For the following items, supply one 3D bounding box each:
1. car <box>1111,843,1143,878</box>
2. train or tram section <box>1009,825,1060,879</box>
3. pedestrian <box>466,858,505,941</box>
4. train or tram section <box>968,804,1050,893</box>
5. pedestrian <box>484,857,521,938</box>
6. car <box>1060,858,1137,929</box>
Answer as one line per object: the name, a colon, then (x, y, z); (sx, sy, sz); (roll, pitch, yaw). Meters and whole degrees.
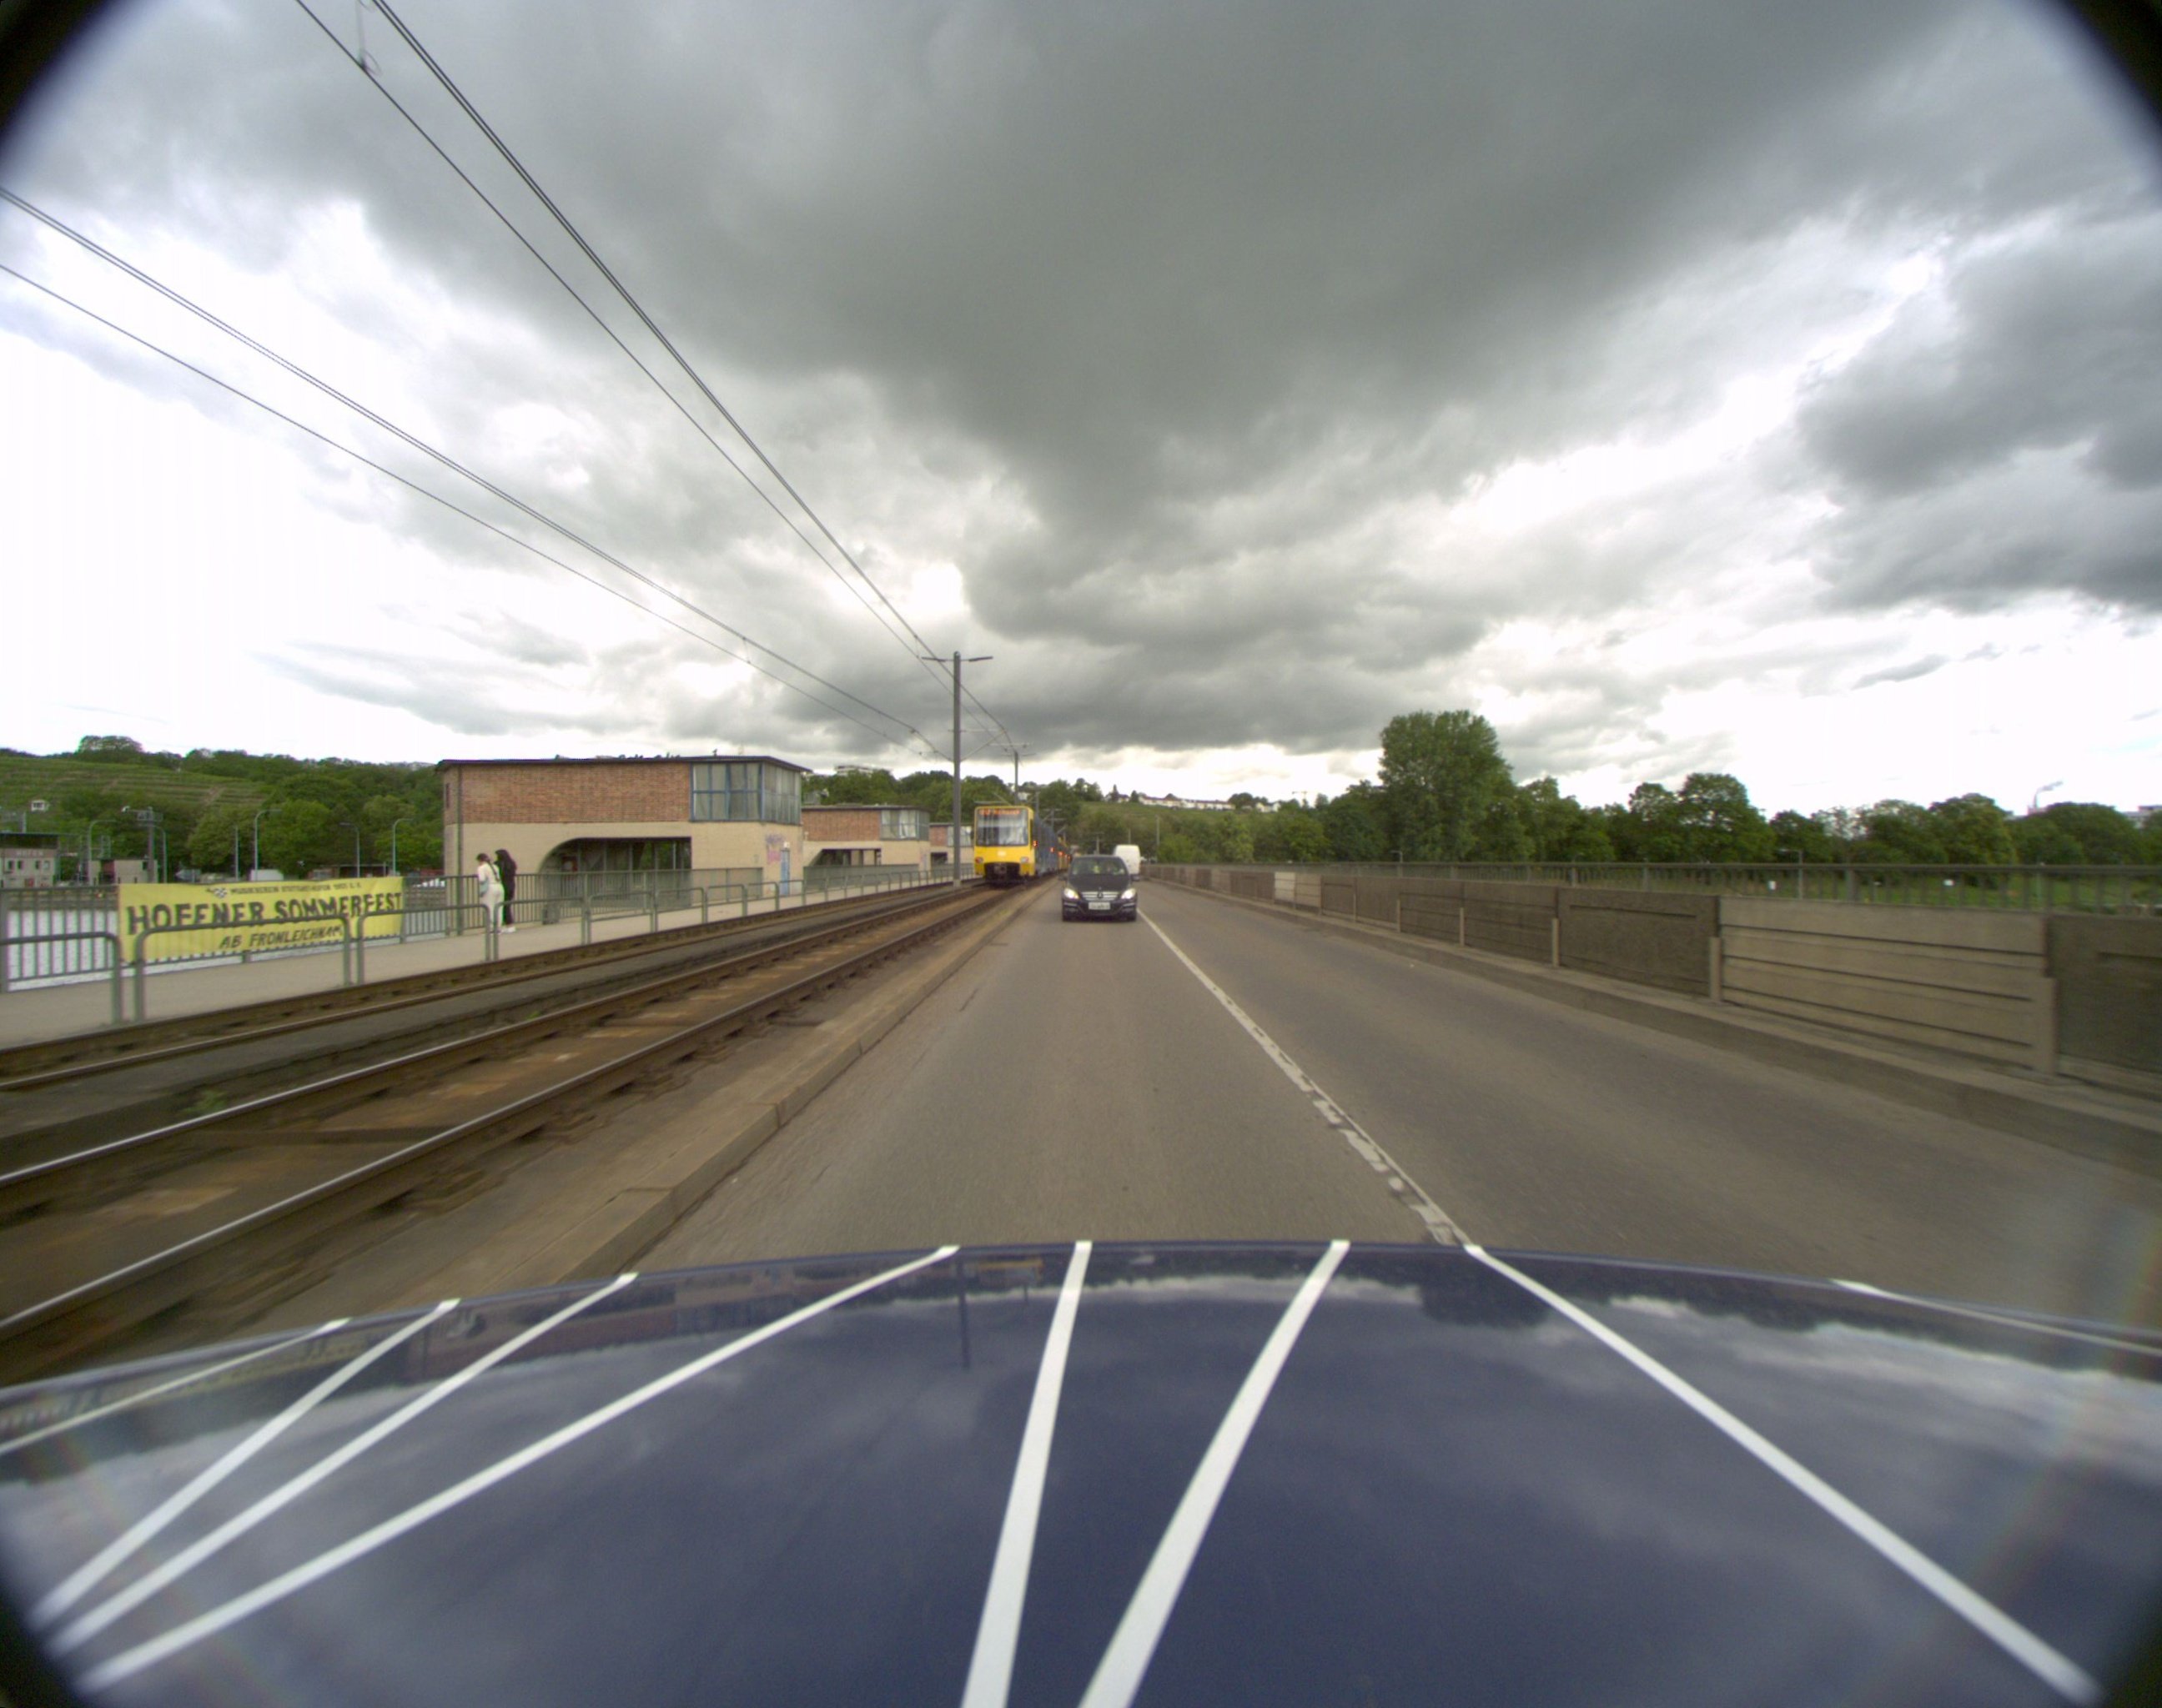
car: (3.497, 0.519, 58.656); (2.038, 2.546, 7.008); (1, -1, 0)
train or tram section: (-3.486, -0.177, 62.182); (2.791, 3.634, 19.891); (2, 0, 0)
pedestrian: (-11.847, 0.888, 15.115); (0.346, 1.617, 0.444); (2, 0, 19)
train or tram section: (-3.465, -0.251, 42.266); (2.800, 3.742, 19.890); (-1, 0, 0)
pedestrian: (-11.898, 0.882, 15.634); (0.330, 1.638, 0.460); (2, 0, 19)
car: (0.405, 0.904, 19.432); (1.711, 1.573, 4.442); (-1, 0, 0)
